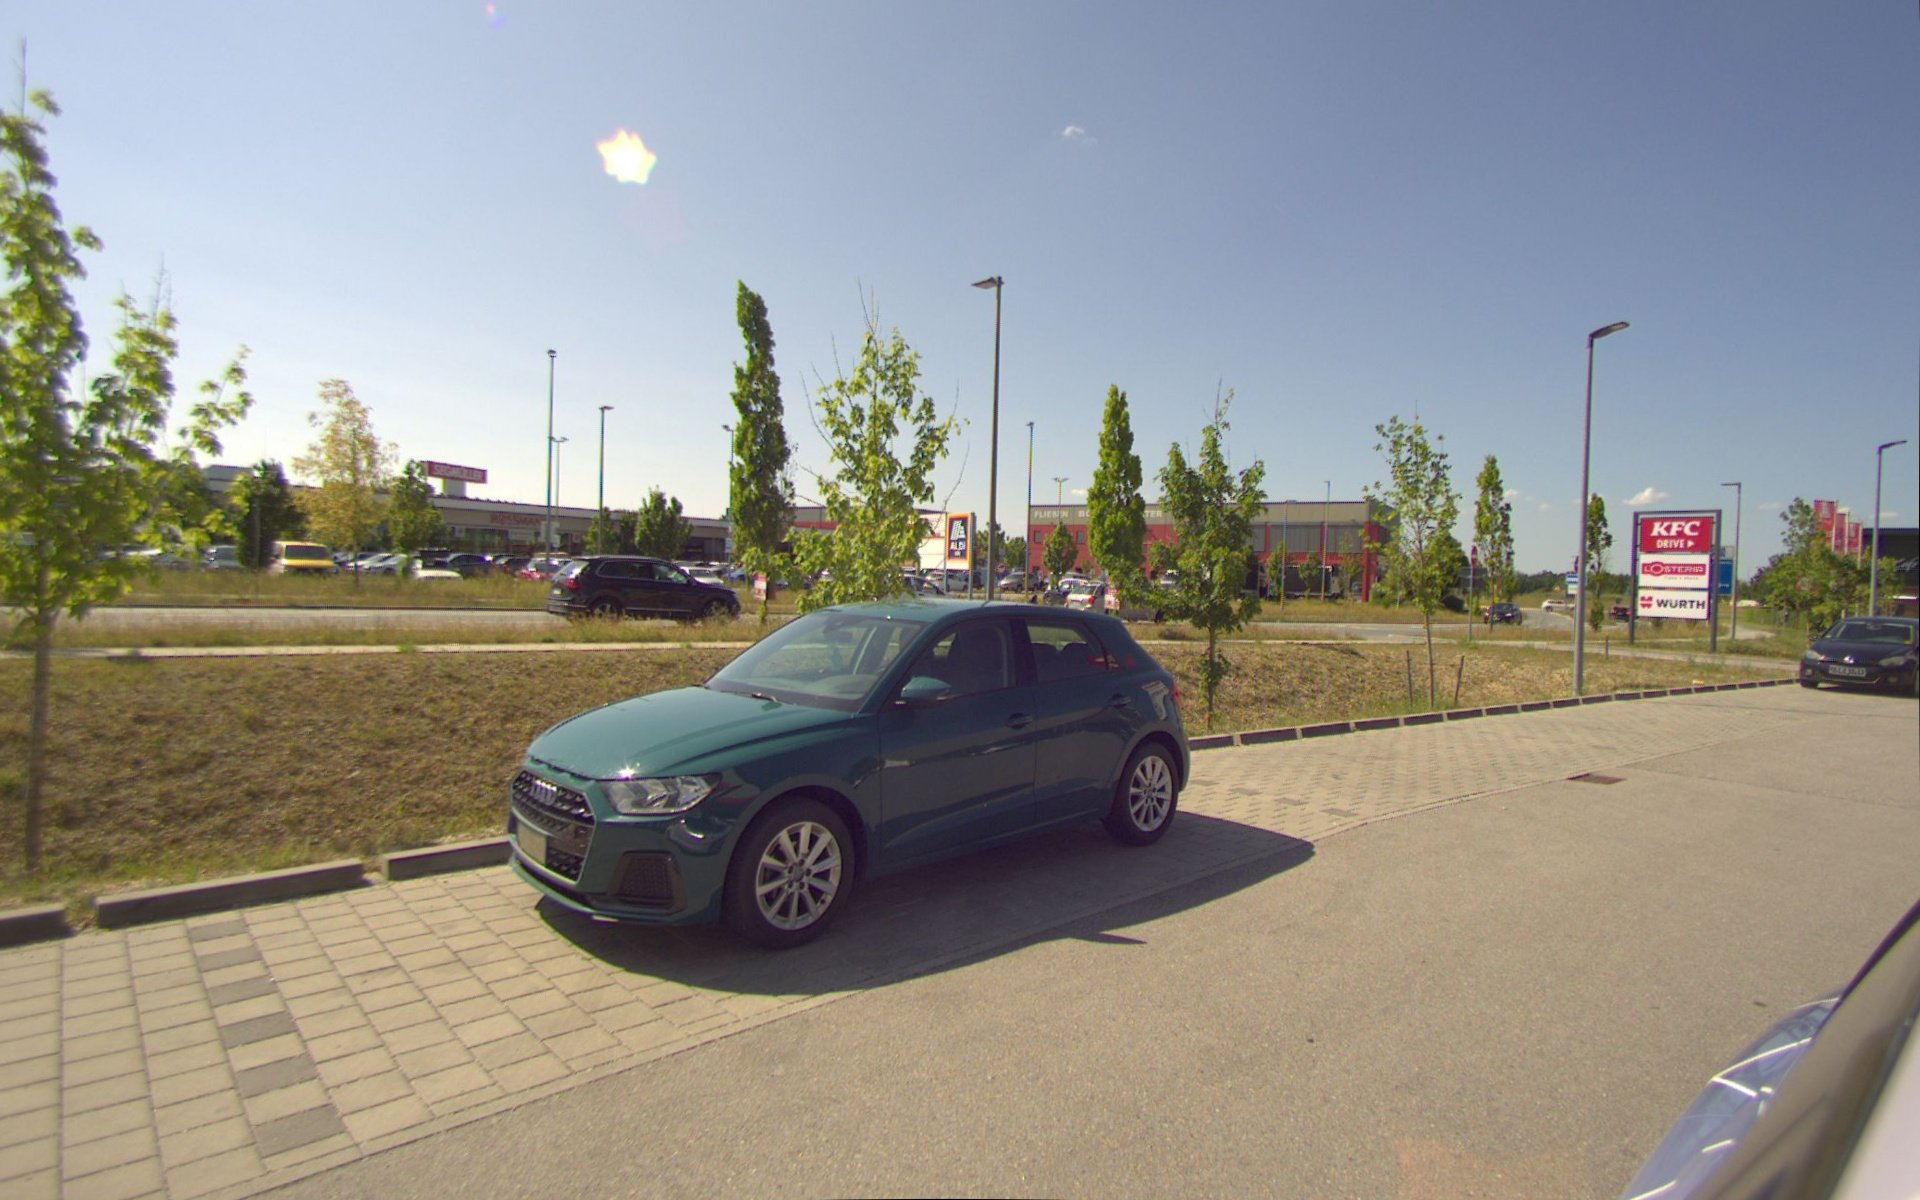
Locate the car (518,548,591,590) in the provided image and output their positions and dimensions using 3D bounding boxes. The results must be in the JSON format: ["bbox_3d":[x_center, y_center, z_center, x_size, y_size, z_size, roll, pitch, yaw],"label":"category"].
[{"bbox_3d":[-28.775,-2.146,71.920,1.986,2.857,4.431,2,1,33],"label":"car"}]

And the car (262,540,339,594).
[{"bbox_3d":[-27.166,-1.365,41.604,2.126,2.038,5.111,1,2,-39],"label":"car"}]

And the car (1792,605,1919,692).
[{"bbox_3d":[18.550,0.915,20.200,4.280,1.483,1.879,1,1,-35],"label":"car"}]

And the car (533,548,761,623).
[{"bbox_3d":[-7.172,-0.309,23.444,4.675,1.571,1.945,1,1,-39],"label":"car"}]

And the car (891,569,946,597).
[{"bbox_3d":[-3.178,-1.261,78.077,1.986,2.063,4.431,2,1,33],"label":"car"}]

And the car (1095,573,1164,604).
[{"bbox_3d":[11.959,-0.819,71.645,1.967,2.063,4.473,1,1,-44],"label":"car"}]

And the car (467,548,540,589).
[{"bbox_3d":[-33.285,-2.278,73.865,1.986,2.857,4.431,2,1,33],"label":"car"}]

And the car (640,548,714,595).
[{"bbox_3d":[-17.854,-1.777,63.954,1.981,2.857,4.441,1,1,27],"label":"car"}]

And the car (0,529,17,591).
[{"bbox_3d":[-34.088,-1.421,34.920,2.127,2.038,5.107,0,2,-42],"label":"car"}]

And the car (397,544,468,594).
[{"bbox_3d":[-23.469,-1.398,44.951,1.909,2.039,4.406,1,1,-39],"label":"car"}]

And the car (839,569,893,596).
[{"bbox_3d":[-7.499,-1.405,81.117,1.986,2.063,4.431,2,1,33],"label":"car"}]

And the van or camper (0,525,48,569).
[{"bbox_3d":[-46.752,-2.569,47.938,1.988,2.038,4.987,3,1,35],"label":"van or camper"}]

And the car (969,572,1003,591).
[{"bbox_3d":[3.039,-2.120,117.211,1.986,2.063,4.431,2,1,33],"label":"car"}]

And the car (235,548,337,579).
[{"bbox_3d":[-36.359,-1.961,54.706,1.645,1.539,4.295,2,1,35],"label":"car"}]

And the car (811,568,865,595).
[{"bbox_3d":[-9.899,-1.481,82.507,1.986,2.063,4.431,2,1,33],"label":"car"}]

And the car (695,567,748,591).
[{"bbox_3d":[-20.983,-1.835,89.265,1.986,2.063,4.431,2,1,33],"label":"car"}]

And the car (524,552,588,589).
[{"bbox_3d":[-32.496,-2.377,81.542,1.986,2.857,4.431,2,1,33],"label":"car"}]

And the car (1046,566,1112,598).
[{"bbox_3d":[8.693,-1.279,73.958,4.393,2.214,2.003,1,1,-28],"label":"car"}]

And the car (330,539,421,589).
[{"bbox_3d":[-35.487,-2.142,61.592,1.981,2.857,4.441,1,1,27],"label":"car"}]

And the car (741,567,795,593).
[{"bbox_3d":[-16.352,-1.687,86.403,1.986,2.063,4.431,2,1,33],"label":"car"}]

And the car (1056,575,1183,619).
[{"bbox_3d":[6.049,-0.093,38.209,4.670,1.571,1.947,1,1,-35],"label":"car"}]

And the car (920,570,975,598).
[{"bbox_3d":[-0.916,-1.184,76.415,1.986,2.063,4.431,2,1,33],"label":"car"}]

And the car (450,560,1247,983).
[{"bbox_3d":[-0.330,0.600,5.669,4.155,1.467,1.842,1,1,-43],"label":"car"}]

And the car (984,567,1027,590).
[{"bbox_3d":[4.234,-1.999,93.977,1.986,2.063,4.431,2,1,33],"label":"car"}]

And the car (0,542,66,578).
[{"bbox_3d":[-42.411,-1.801,44.765,1.863,1.527,3.950,2,1,35],"label":"car"}]

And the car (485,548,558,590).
[{"bbox_3d":[-31.431,-2.218,72.675,1.986,2.857,4.431,2,1,33],"label":"car"}]

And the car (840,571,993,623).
[{"bbox_3d":[-1.364,-0.094,32.689,4.674,1.571,1.945,1,1,-38],"label":"car"}]

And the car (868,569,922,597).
[{"bbox_3d":[-5.134,-1.334,79.973,1.986,2.063,4.431,2,1,33],"label":"car"}]

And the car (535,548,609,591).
[{"bbox_3d":[-26.682,-2.067,69.796,1.986,2.857,4.431,2,1,33],"label":"car"}]

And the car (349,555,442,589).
[{"bbox_3d":[-33.307,-1.630,59.827,1.986,1.886,4.431,2,1,33],"label":"car"}]

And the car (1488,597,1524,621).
[{"bbox_3d":[37.630,0.631,69.720,1.816,1.560,3.951,2,1,34],"label":"car"}]

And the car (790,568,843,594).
[{"bbox_3d":[-11.859,-1.546,83.893,1.986,2.063,4.431,2,1,33],"label":"car"}]

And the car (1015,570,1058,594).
[{"bbox_3d":[7.019,-1.659,92.785,1.986,2.063,4.431,2,1,33],"label":"car"}]
